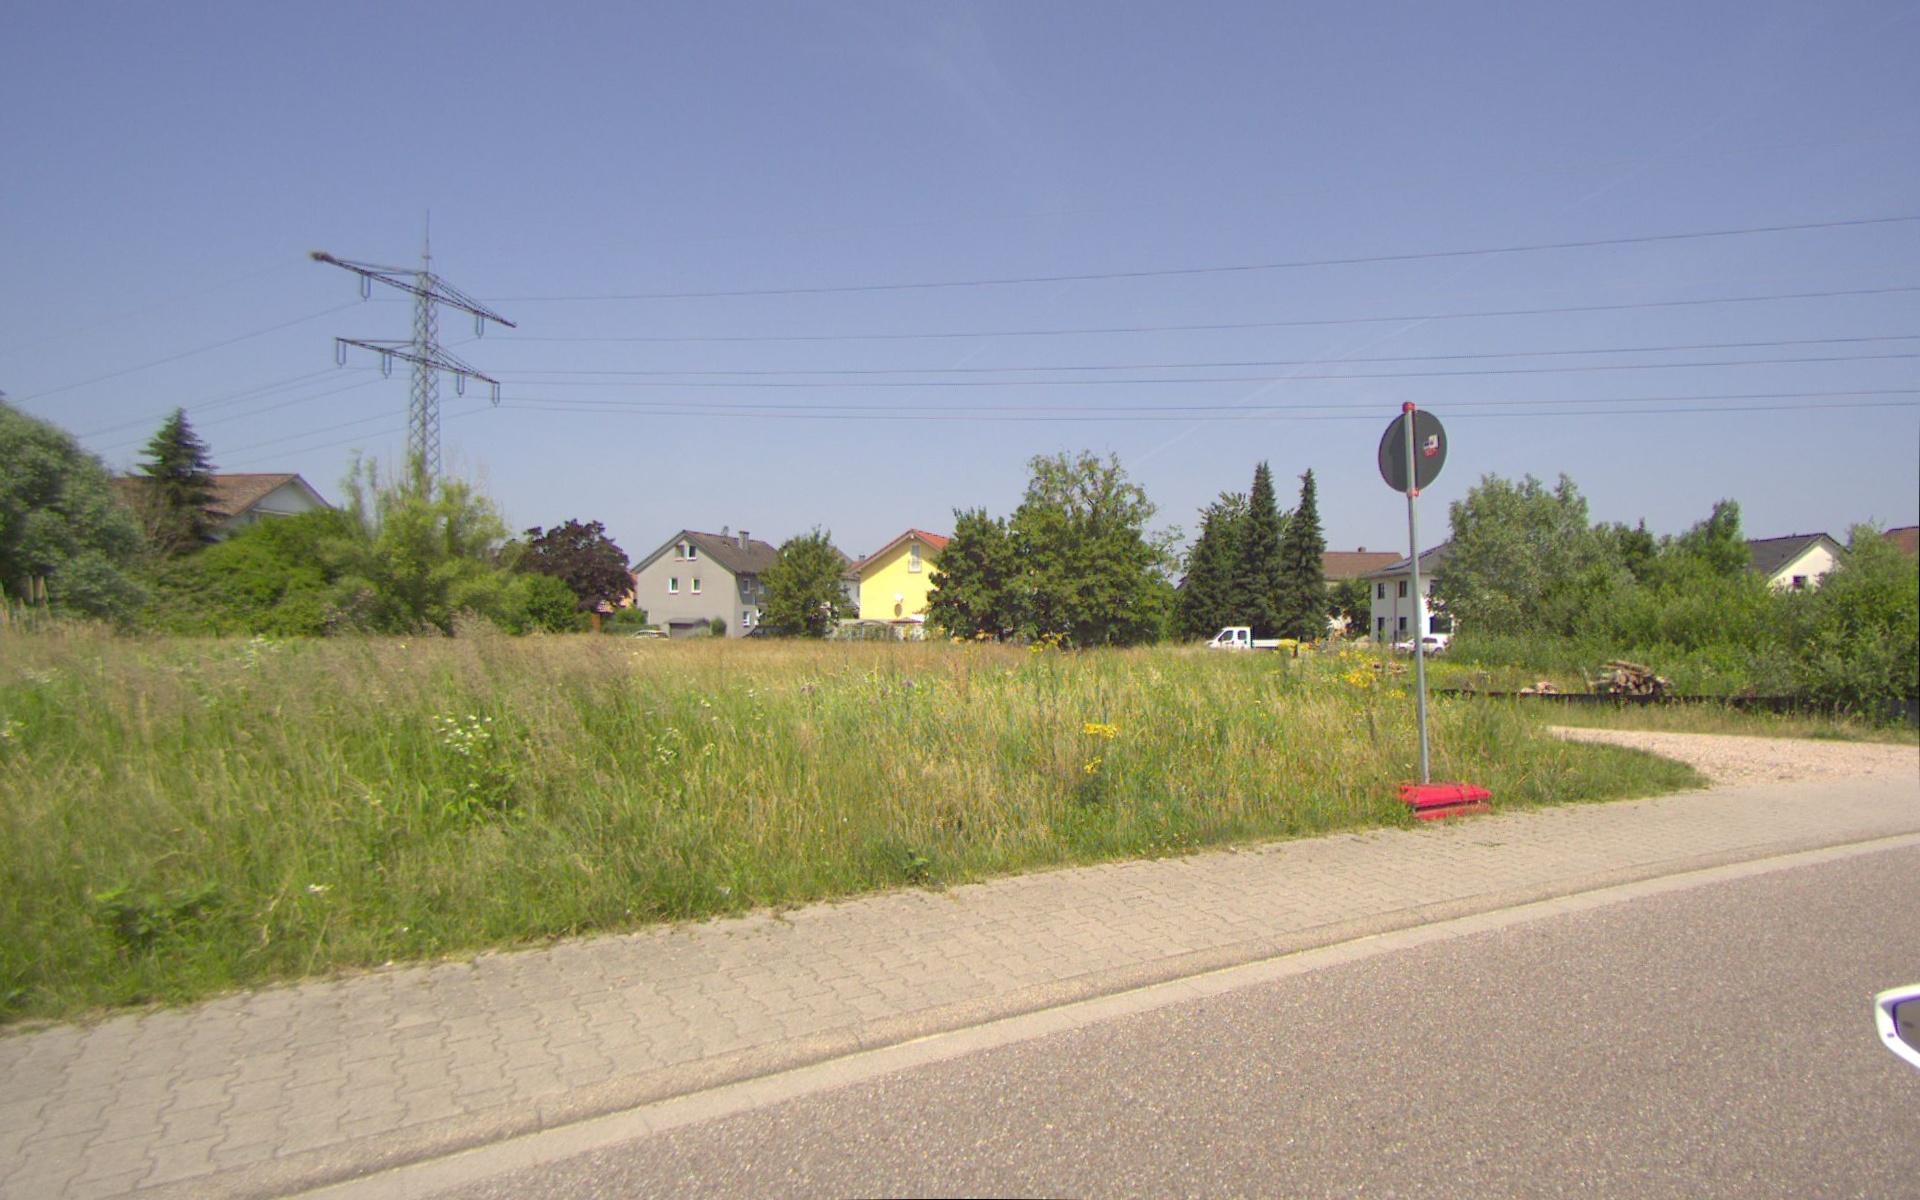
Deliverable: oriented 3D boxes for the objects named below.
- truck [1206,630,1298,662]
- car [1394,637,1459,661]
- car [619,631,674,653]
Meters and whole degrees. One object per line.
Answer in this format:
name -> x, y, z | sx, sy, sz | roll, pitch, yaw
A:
truck -> 19.992, 3.108, 68.898 | 5.771, 2.037, 2.122 | 1, -1, 6
car -> 35.187, 3.685, 75.858 | 4.170, 1.717, 2.001 | 0, -1, 14
car -> -25.504, 3.415, 81.809 | 3.923, 1.632, 1.999 | 1, -1, 23
